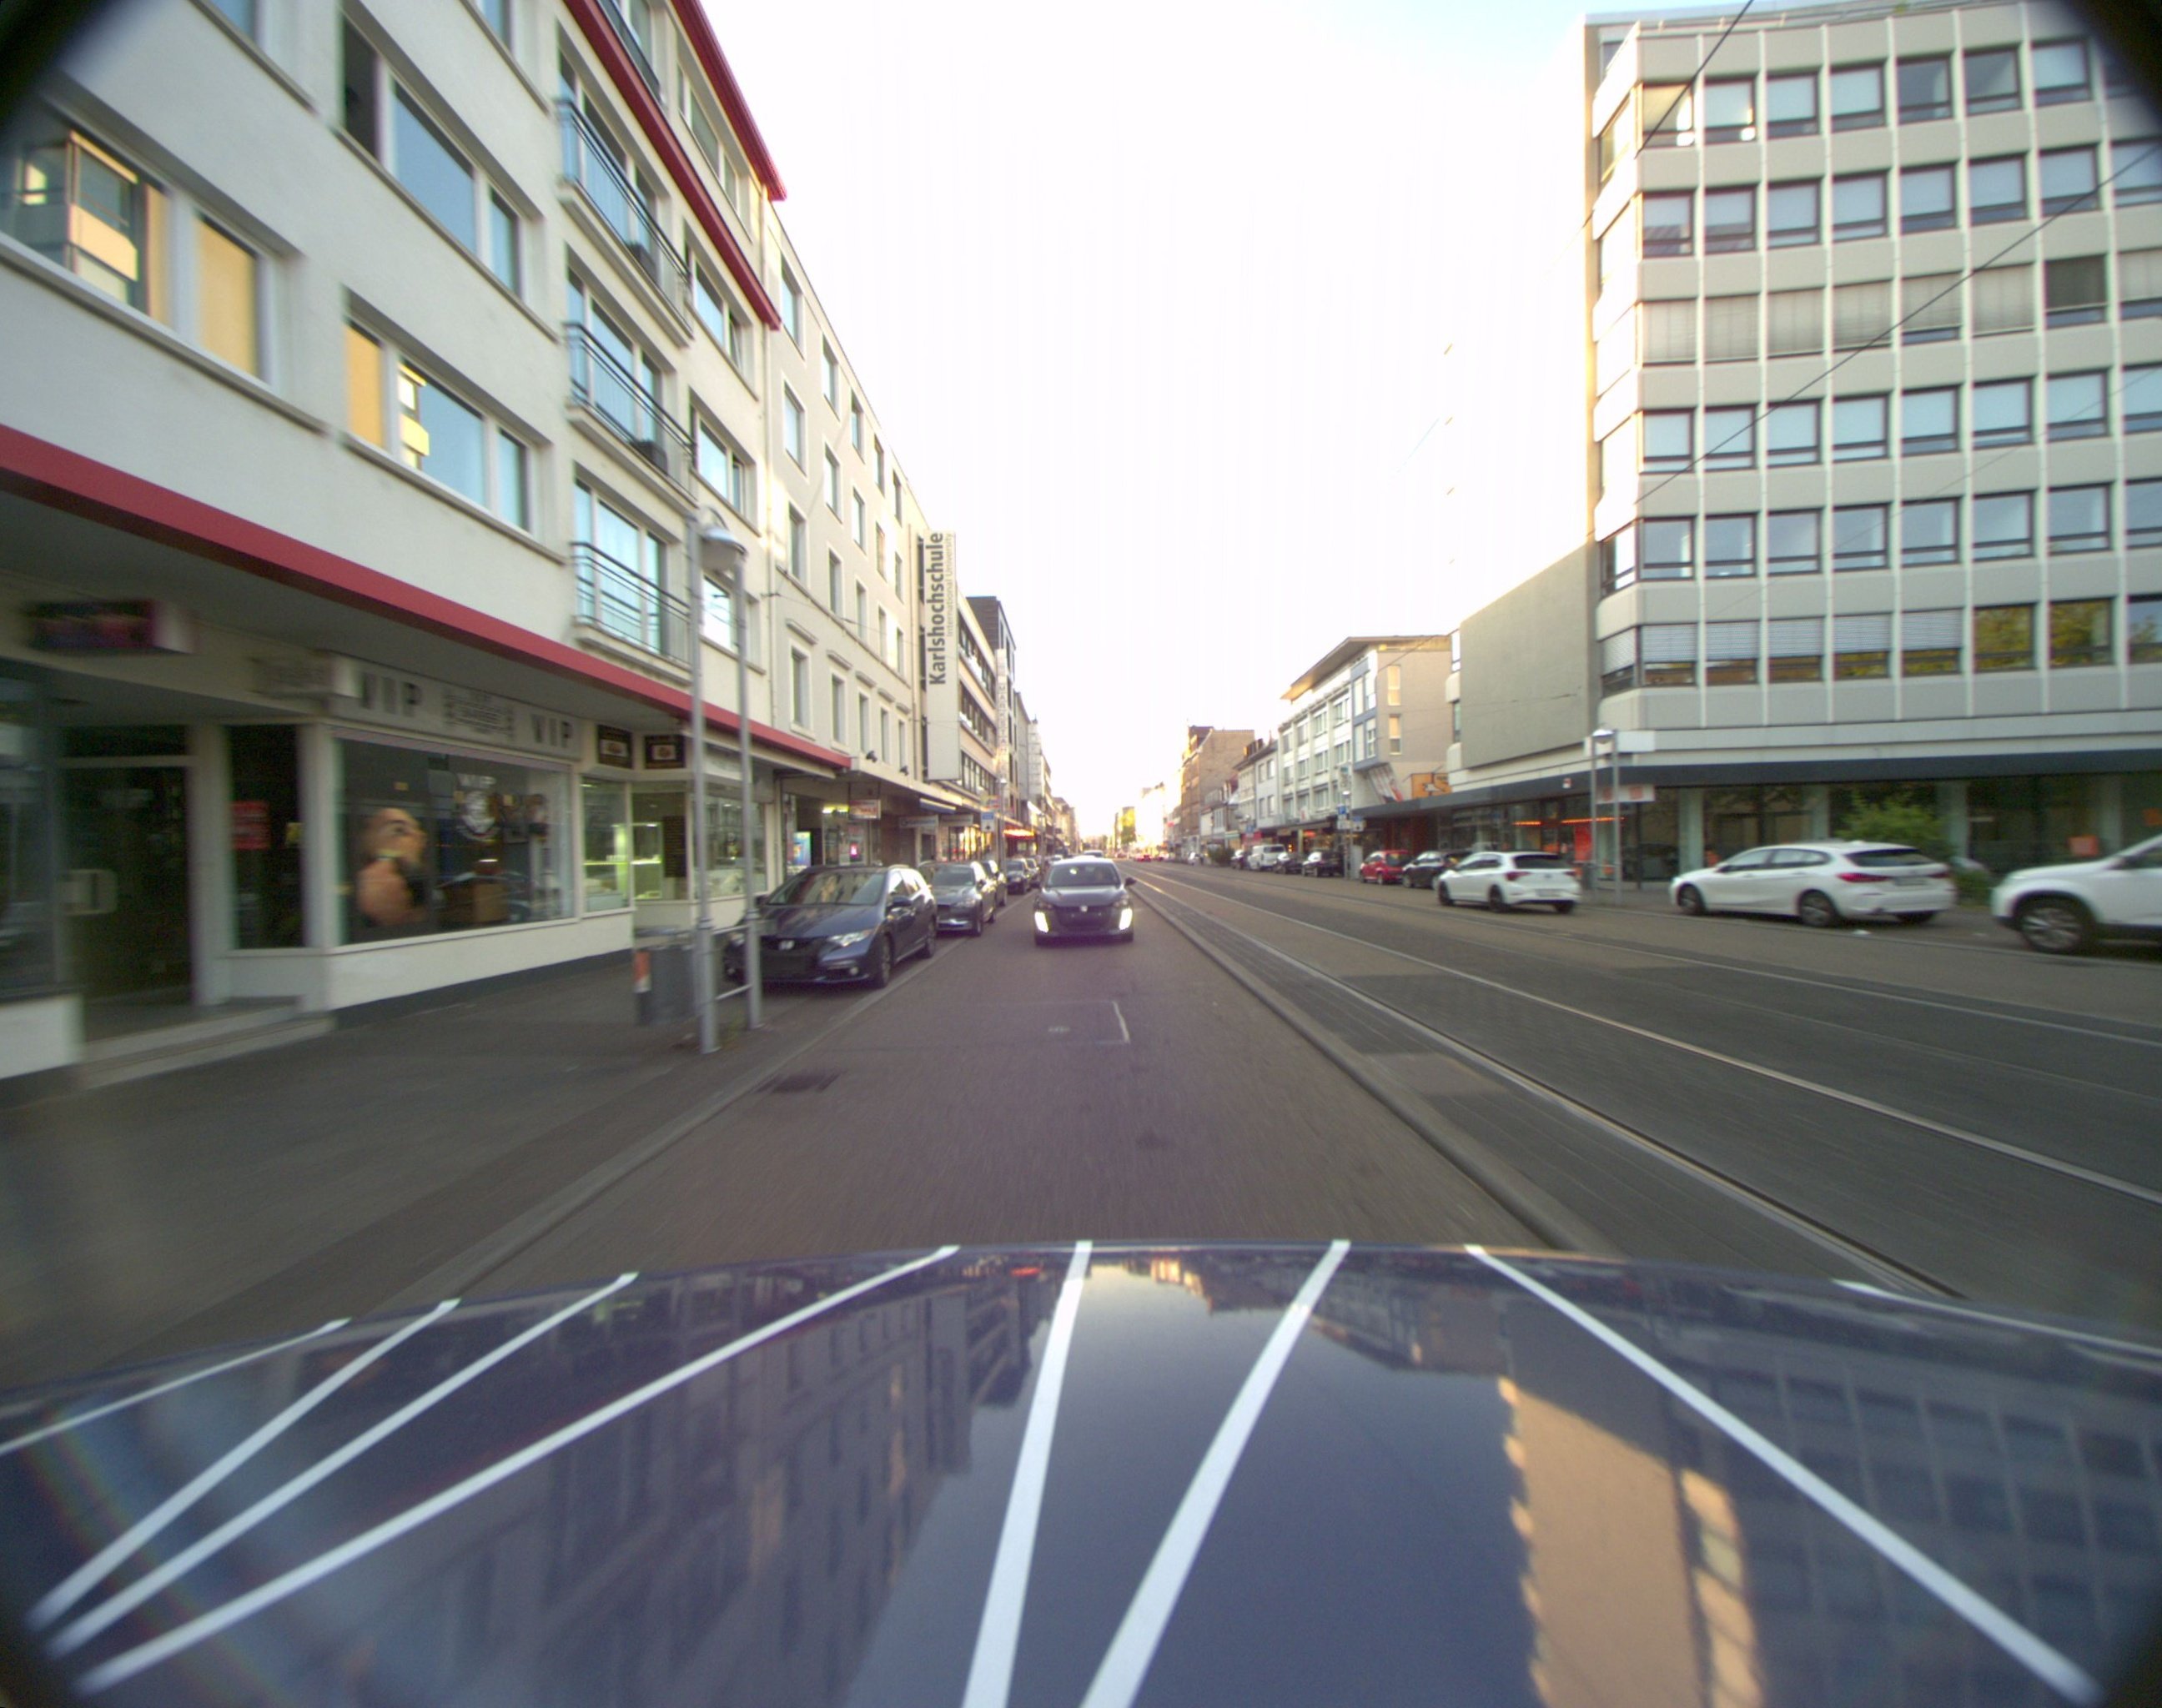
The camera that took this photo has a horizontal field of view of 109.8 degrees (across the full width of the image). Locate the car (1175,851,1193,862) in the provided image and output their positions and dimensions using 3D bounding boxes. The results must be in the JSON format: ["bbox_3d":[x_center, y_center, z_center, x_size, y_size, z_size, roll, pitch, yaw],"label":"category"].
[{"bbox_3d":[15.198,0.377,112.307,1.998,1.543,4.000,-1,0,1],"label":"car"}]

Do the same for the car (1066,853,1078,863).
[{"bbox_3d":[-1.466,0.600,128.966,1.999,1.627,5.243,-1,0,0],"label":"car"}]

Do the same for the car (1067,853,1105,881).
[{"bbox_3d":[0.284,0.688,42.542,1.998,1.450,4.000,-1,0,0],"label":"car"}]

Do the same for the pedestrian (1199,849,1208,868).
[{"bbox_3d":[13.419,0.478,83.392,0.823,2.002,0.713,-1,1,16],"label":"pedestrian"}]

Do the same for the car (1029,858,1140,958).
[{"bbox_3d":[0.040,0.876,14.383,1.732,1.513,4.333,-2,0,0],"label":"car"}]

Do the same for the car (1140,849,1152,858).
[{"bbox_3d":[11.897,-0.098,139.072,1.998,1.543,4.000,-1,0,1],"label":"car"}]

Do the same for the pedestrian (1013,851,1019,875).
[{"bbox_3d":[-5.203,0.714,60.684,0.452,1.888,0.421,-1,1,0],"label":"pedestrian"}]

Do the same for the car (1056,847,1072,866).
[{"bbox_3d":[-2.213,0.278,99.511,2.046,2.371,5.584,-1,0,0],"label":"car"}]

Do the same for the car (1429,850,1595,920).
[{"bbox_3d":[10.309,0.675,18.562,1.810,1.503,4.035,-1,0,1],"label":"car"}]

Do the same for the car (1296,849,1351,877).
[{"bbox_3d":[13.631,0.450,42.914,1.690,1.503,4.446,0,0,0],"label":"car"}]

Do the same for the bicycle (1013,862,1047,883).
[{"bbox_3d":[-2.832,1.039,42.326,1.890,1.131,0.676,-1,1,-2],"label":"bicycle"}]

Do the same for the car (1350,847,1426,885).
[{"bbox_3d":[13.485,0.508,33.658,1.690,1.503,4.215,-2,0,1],"label":"car"}]

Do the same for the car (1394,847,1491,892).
[{"bbox_3d":[13.433,0.545,28.531,1.690,1.503,4.215,-2,0,1],"label":"car"}]

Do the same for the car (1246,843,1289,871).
[{"bbox_3d":[13.940,0.216,57.089,1.960,1.965,5.162,-1,0,0],"label":"car"}]

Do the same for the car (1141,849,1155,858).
[{"bbox_3d":[11.493,-0.113,130.671,1.998,1.543,3.999,1,1,1],"label":"car"}]

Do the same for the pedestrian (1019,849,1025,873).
[{"bbox_3d":[-4.625,0.539,59.531,0.456,1.888,0.421,-1,1,0],"label":"pedestrian"}]

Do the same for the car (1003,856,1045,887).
[{"bbox_3d":[-2.841,0.843,38.597,1.748,1.503,4.258,0,0,1],"label":"car"}]

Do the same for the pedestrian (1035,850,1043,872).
[{"bbox_3d":[-3.268,0.550,59.351,0.610,1.743,0.605,-1,1,0],"label":"pedestrian"}]

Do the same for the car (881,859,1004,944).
[{"bbox_3d":[-2.773,0.886,16.229,1.794,1.503,4.711,0,0,0],"label":"car"}]

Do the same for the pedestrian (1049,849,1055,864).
[{"bbox_3d":[-3.543,0.299,92.778,0.610,1.743,0.605,-1,1,0],"label":"pedestrian"}]

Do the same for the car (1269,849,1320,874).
[{"bbox_3d":[13.861,0.458,49.613,1.998,1.457,4.558,-2,0,0],"label":"car"}]

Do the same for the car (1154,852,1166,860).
[{"bbox_3d":[15.194,0.376,145.902,1.998,1.543,4.000,-1,0,1],"label":"car"}]

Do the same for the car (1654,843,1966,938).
[{"bbox_3d":[13.406,0.590,14.455,1.816,1.503,4.433,-1,0,2],"label":"car"}]

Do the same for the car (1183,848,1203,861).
[{"bbox_3d":[14.278,0.092,97.151,1.914,1.535,4.552,-1,0,1],"label":"car"}]

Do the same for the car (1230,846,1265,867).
[{"bbox_3d":[14.091,0.196,64.486,1.863,1.711,4.527,-3,0,0],"label":"car"}]

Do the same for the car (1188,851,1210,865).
[{"bbox_3d":[14.210,0.466,91.828,1.998,1.535,4.878,-2,0,1],"label":"car"}]

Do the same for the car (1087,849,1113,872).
[{"bbox_3d":[1.512,0.480,62.182,1.999,1.805,3.999,-1,0,-1],"label":"car"}]

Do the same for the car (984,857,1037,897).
[{"bbox_3d":[-2.878,0.896,31.623,1.724,1.503,4.167,0,0,1],"label":"car"}]

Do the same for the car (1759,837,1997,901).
[{"bbox_3d":[20.041,0.363,19.248,3.996,1.458,1.846,-1,0,3],"label":"car"}]

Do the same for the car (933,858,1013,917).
[{"bbox_3d":[-3.063,0.901,22.217,1.690,1.503,4.035,0,0,1],"label":"car"}]

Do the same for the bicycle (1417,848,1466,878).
[{"bbox_3d":[17.572,0.440,37.025,1.973,1.417,0.834,-1,1,-1],"label":"bicycle"}]

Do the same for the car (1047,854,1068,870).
[{"bbox_3d":[-2.191,0.730,71.781,1.682,1.534,3.886,0,0,1],"label":"car"}]

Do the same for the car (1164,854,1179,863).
[{"bbox_3d":[14.804,0.730,124.379,1.998,1.543,4.206,-1,0,1],"label":"car"}]

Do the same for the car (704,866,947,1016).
[{"bbox_3d":[-3.094,0.957,10.218,1.739,1.503,4.303,0,0,1],"label":"car"}]

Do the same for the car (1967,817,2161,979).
[{"bbox_3d":[13.206,0.477,8.250,1.817,1.775,4.497,-4,0,-1],"label":"car"}]

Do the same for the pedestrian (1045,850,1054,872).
[{"bbox_3d":[-2.491,0.548,59.820,0.605,1.717,0.646,-1,1,0],"label":"pedestrian"}]

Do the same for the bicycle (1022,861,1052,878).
[{"bbox_3d":[-2.791,0.977,48.065,1.890,1.071,0.676,1,0,-2],"label":"bicycle"}]
